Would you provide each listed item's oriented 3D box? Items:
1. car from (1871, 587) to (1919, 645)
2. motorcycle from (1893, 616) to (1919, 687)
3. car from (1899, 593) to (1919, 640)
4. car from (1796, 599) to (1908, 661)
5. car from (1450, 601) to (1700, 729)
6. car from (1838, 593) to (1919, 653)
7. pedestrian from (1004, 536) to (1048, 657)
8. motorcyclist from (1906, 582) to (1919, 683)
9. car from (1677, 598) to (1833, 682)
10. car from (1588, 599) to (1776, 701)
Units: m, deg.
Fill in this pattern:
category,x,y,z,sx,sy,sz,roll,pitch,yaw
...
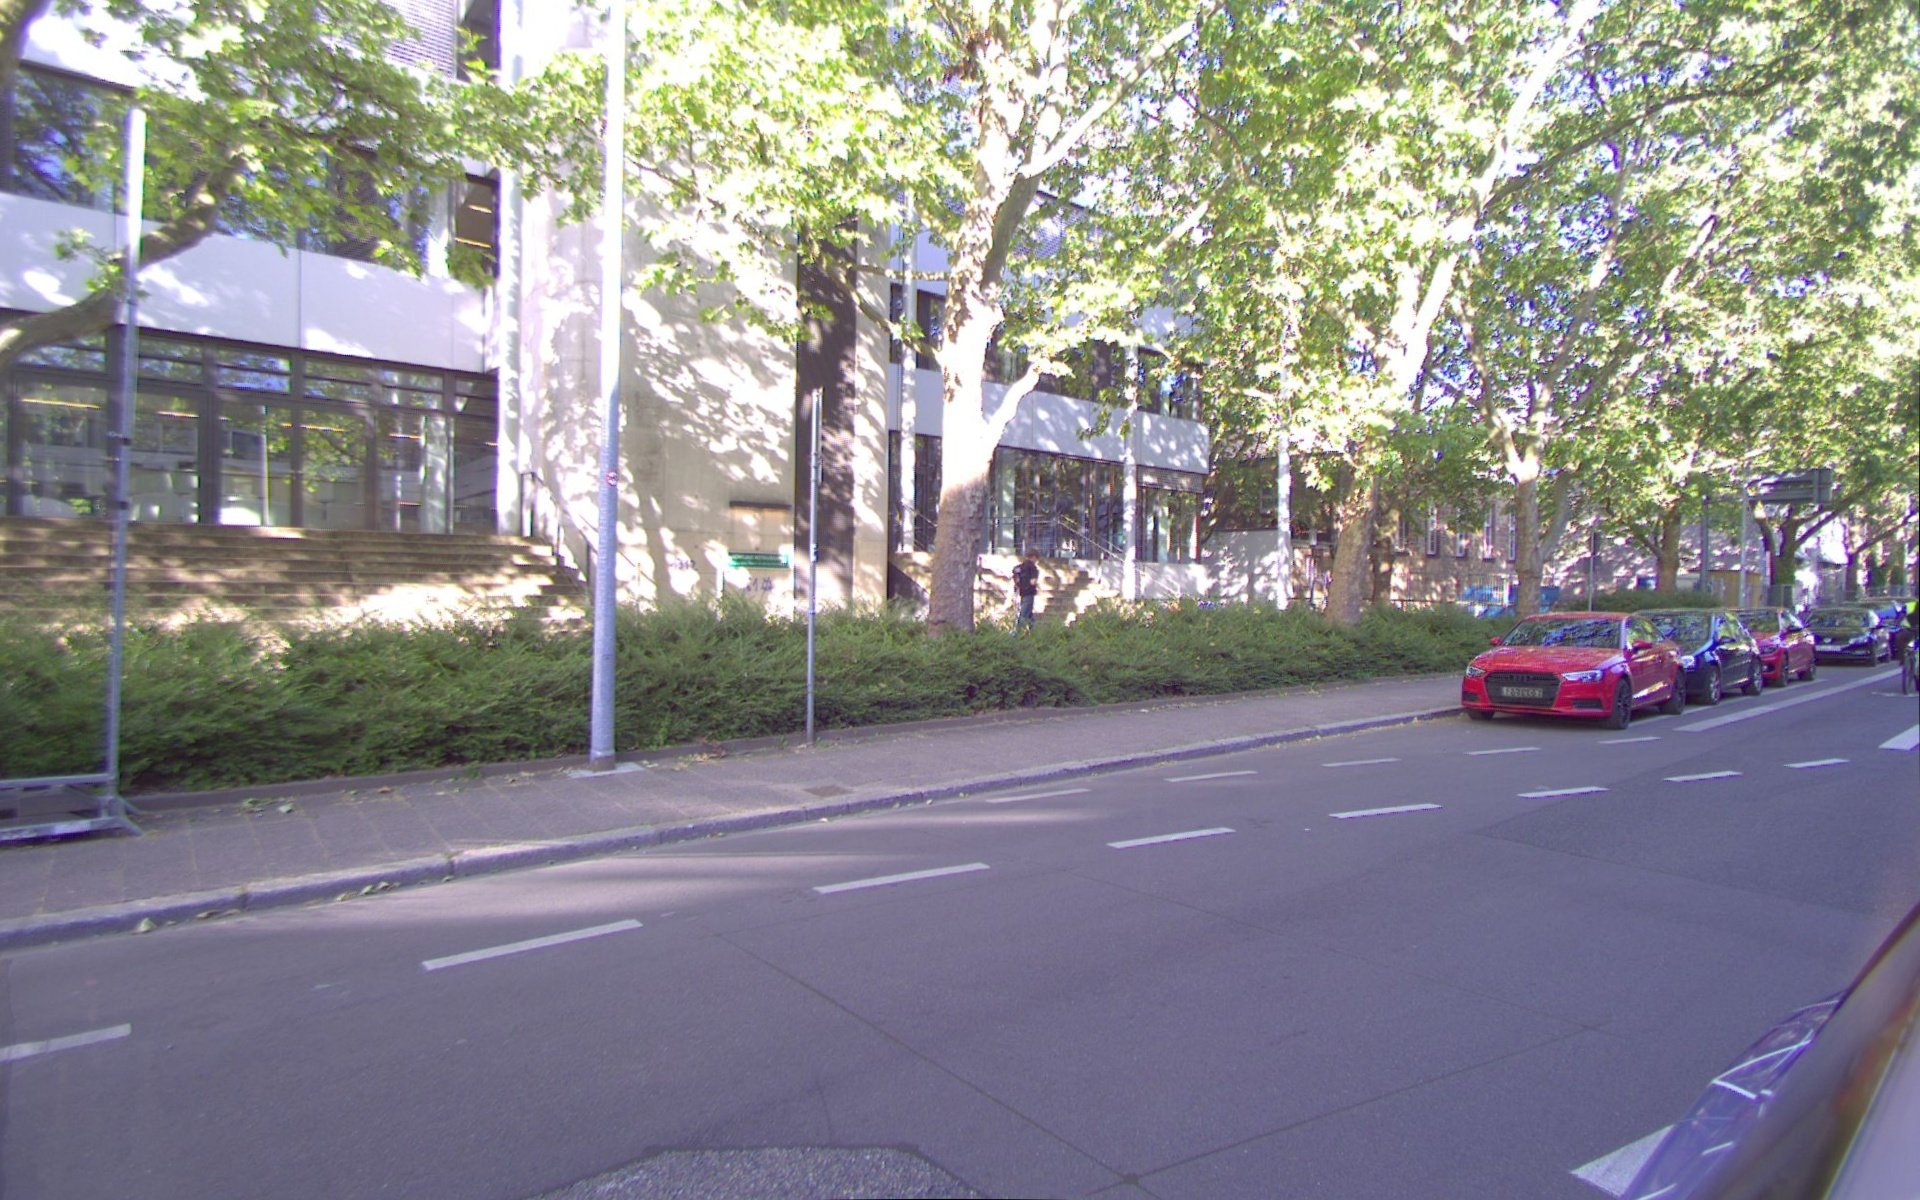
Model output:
category,x,y,z,sx,sy,sz,roll,pitch,yaw
car,31.166,0.471,33.014,4.497,1.814,1.632,-1,0,-41
motorcycle,17.052,0.881,17.734,2.197,1.146,0.798,-1,0,-41
car,35.530,0.570,36.785,4.497,1.633,1.632,-1,0,-41
car,22.943,0.710,25.988,3.855,1.441,1.691,-1,0,-41
car,8.296,0.736,13.516,3.931,1.409,1.792,-1,0,-42
car,26.628,0.602,29.045,4.158,1.598,1.632,-1,0,-41
pedestrian,1.136,-0.059,17.397,0.549,2.039,0.555,0,0,38
motorcyclist,17.155,0.564,17.773,0.738,1.765,0.718,0,0,-41
car,15.738,0.707,19.973,3.854,1.467,1.691,-1,0,-40
car,11.850,0.729,16.546,3.632,1.436,1.668,-1,0,-40
